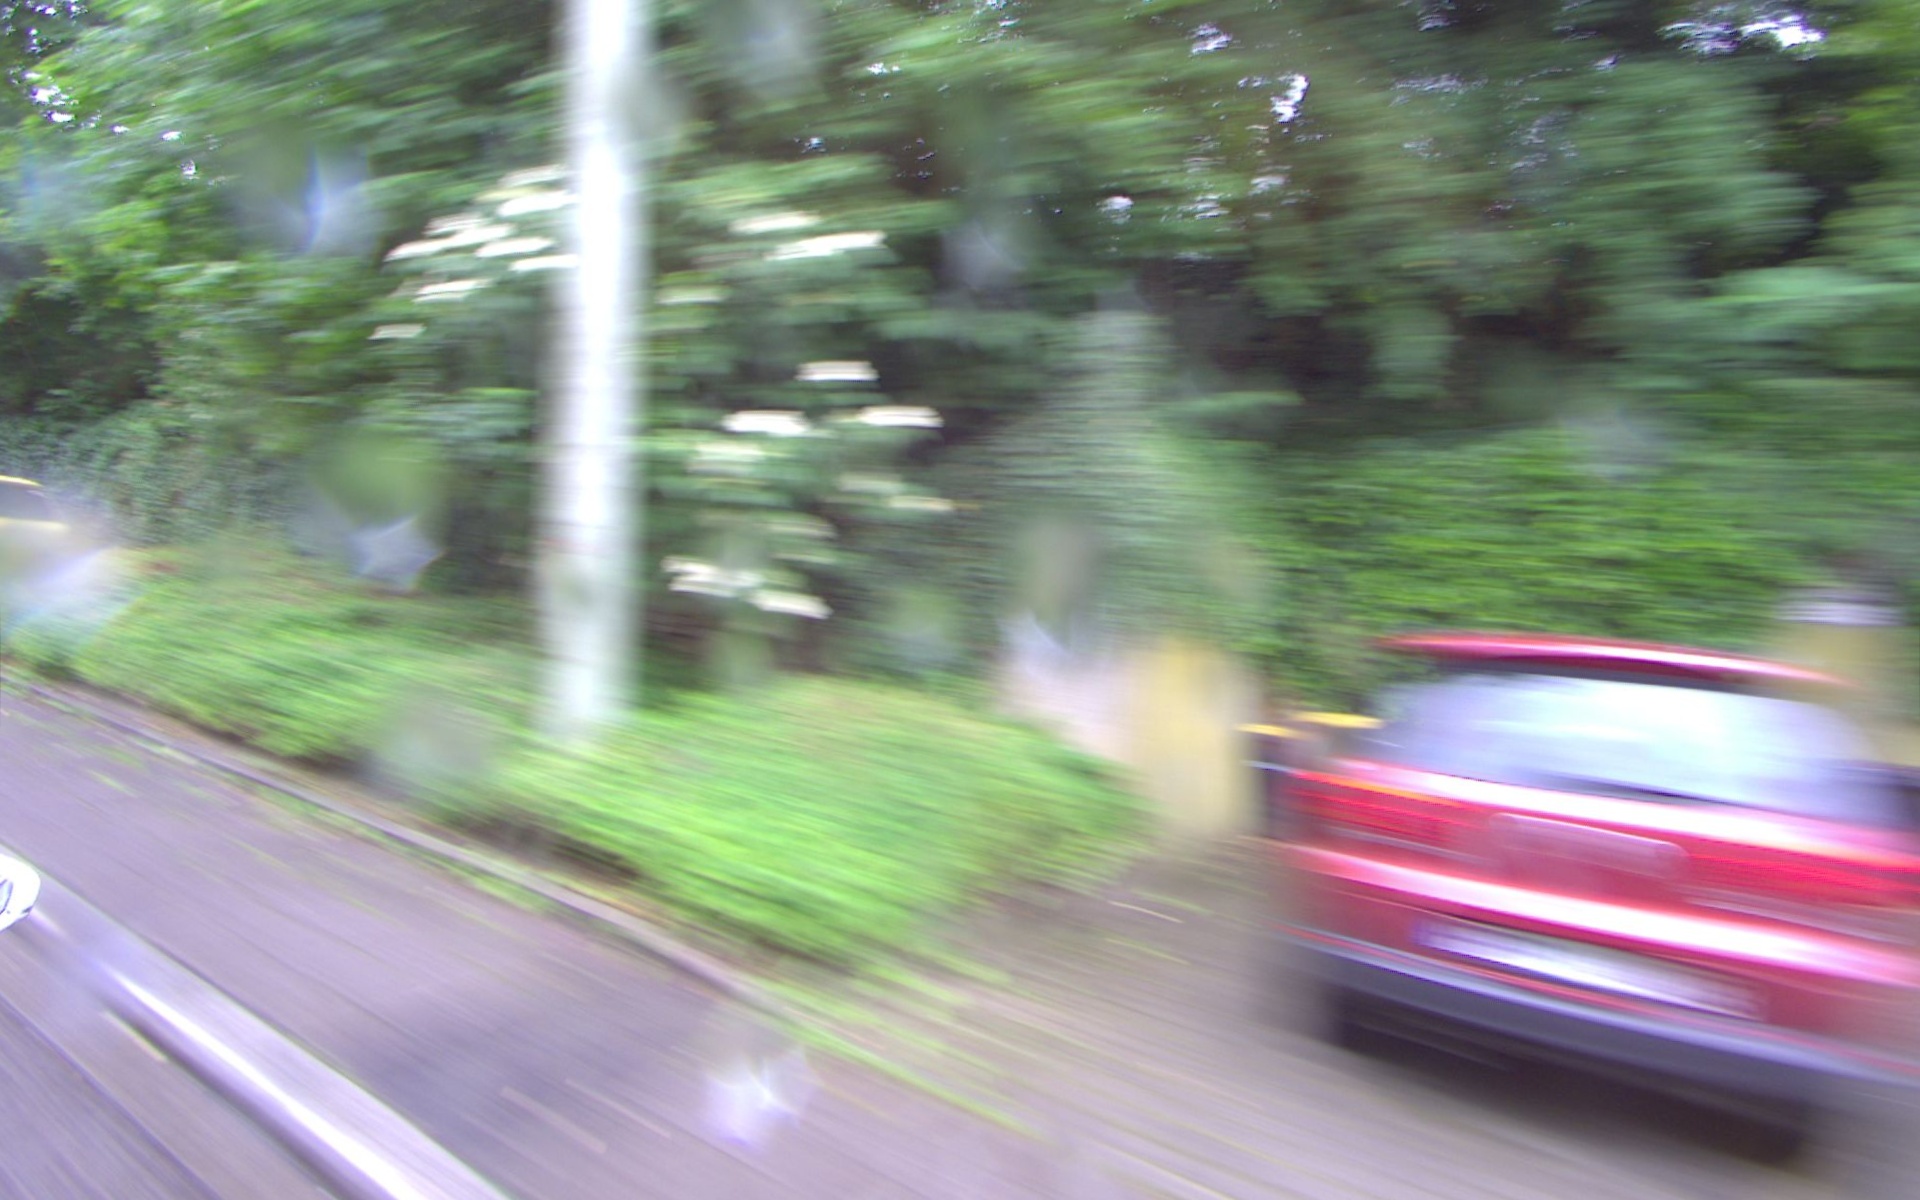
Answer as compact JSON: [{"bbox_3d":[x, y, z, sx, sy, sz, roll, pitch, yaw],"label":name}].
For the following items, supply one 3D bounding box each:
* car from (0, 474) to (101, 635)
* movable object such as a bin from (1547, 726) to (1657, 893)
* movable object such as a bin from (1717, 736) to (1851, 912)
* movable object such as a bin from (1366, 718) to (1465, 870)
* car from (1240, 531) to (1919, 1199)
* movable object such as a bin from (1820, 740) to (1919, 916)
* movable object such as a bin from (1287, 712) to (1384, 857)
[{"bbox_3d":[-11.166,-0.650,10.973,3.936,1.548,1.635,6,-1,34],"label":"car"},{"bbox_3d":[4.654,1.491,7.320,0.593,1.073,0.508,4,-2,31],"label":"movable object such as a bin"},{"bbox_3d":[5.690,1.520,6.978,0.593,1.073,0.508,4,-2,31],"label":"movable object such as a bin"},{"bbox_3d":[3.612,1.509,7.974,0.593,1.073,0.508,4,-2,31],"label":"movable object such as a bin"},{"bbox_3d":[2.703,0.961,4.684,1.729,1.753,4.212,7,-3,27],"label":"car"},{"bbox_3d":[6.255,1.518,6.753,0.593,1.073,0.508,4,-2,31],"label":"movable object such as a bin"},{"bbox_3d":[3.099,1.490,8.285,0.593,1.073,0.508,4,-2,31],"label":"movable object such as a bin"}]
